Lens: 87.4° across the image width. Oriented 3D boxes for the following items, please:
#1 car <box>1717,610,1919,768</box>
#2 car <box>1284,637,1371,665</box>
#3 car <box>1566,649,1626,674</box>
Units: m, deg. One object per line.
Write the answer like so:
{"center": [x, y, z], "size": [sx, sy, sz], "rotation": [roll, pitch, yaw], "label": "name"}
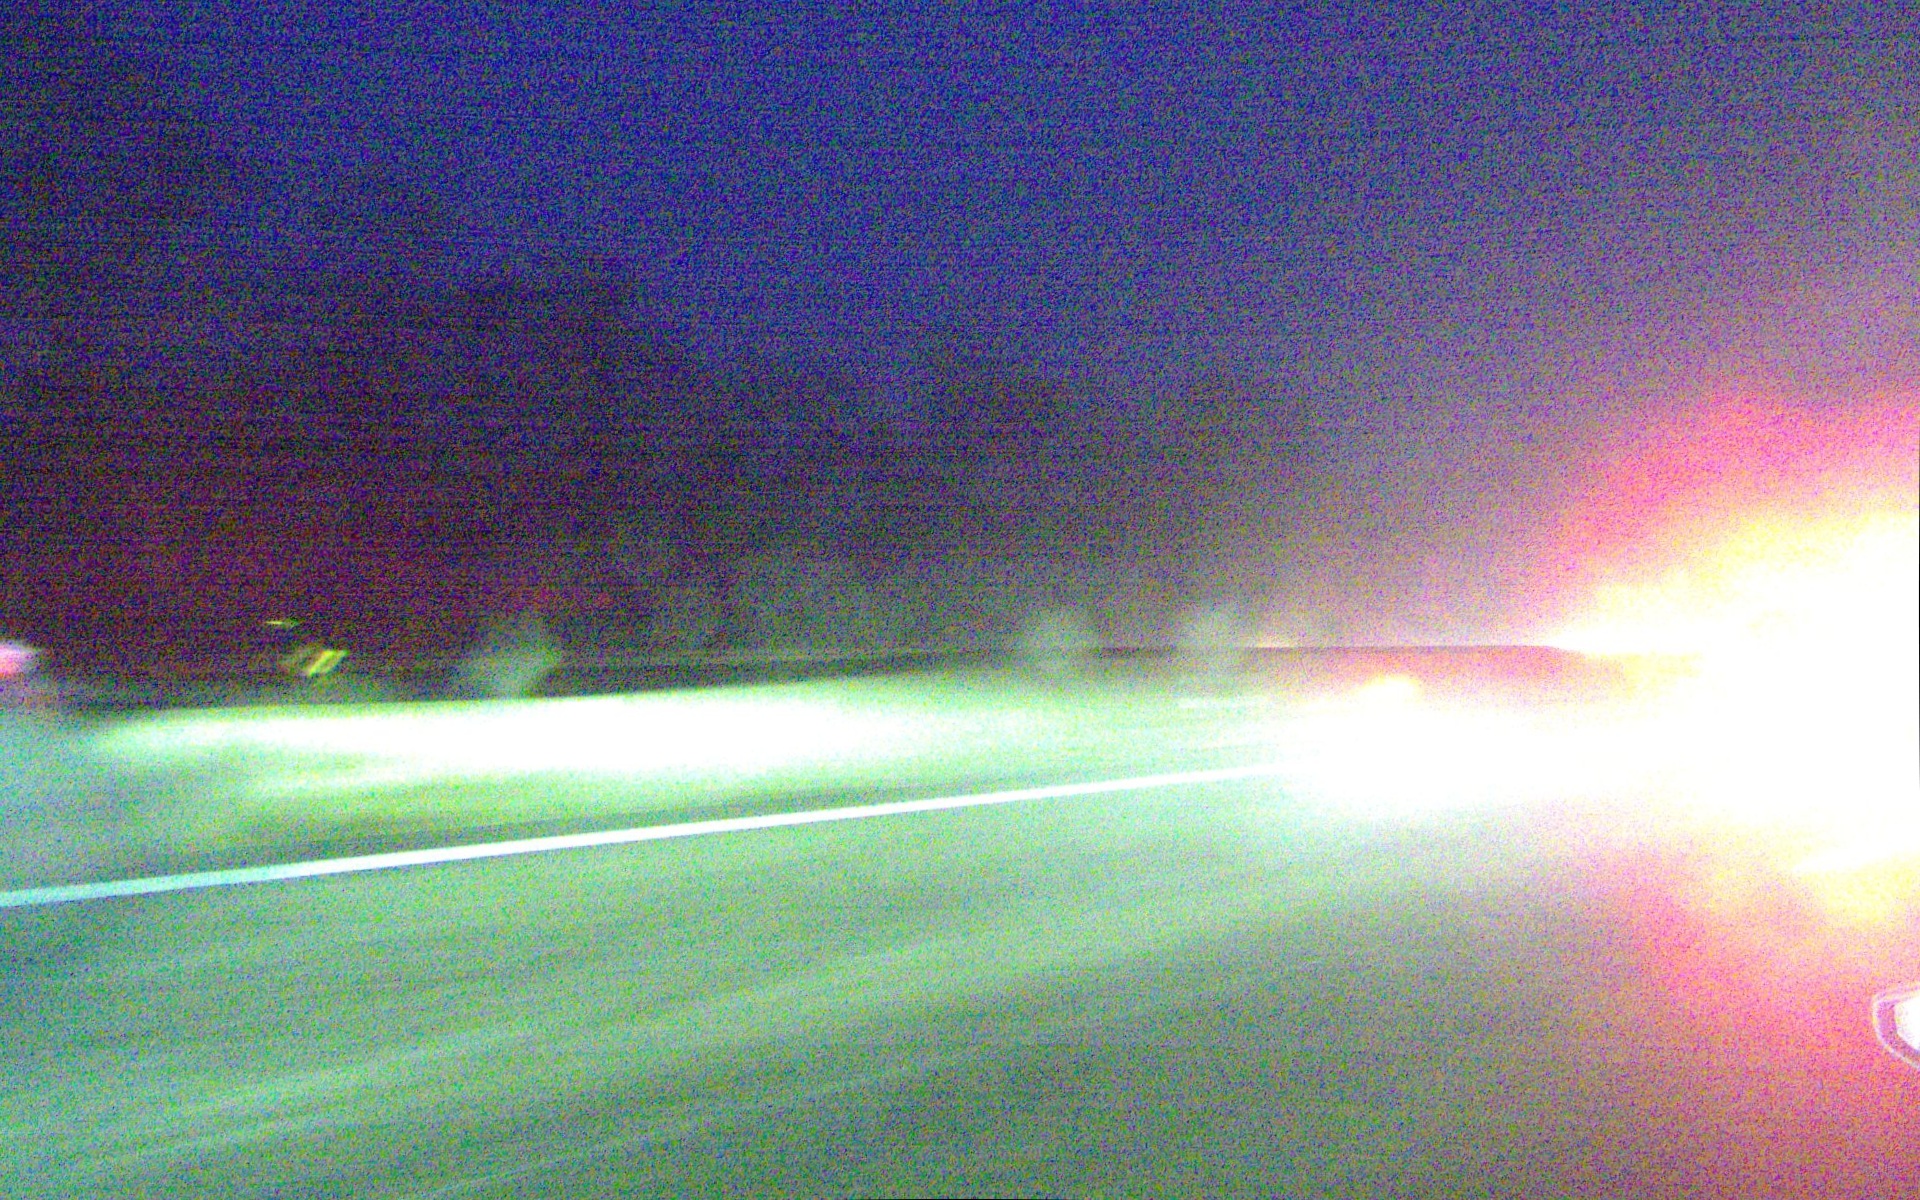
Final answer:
{"center": [11.194, 0.913, 11.995], "size": [4.696, 1.561, 1.848], "rotation": [0, 0, -31], "label": "car"}
{"center": [15.937, 2.235, 43.543], "size": [3.731, 1.173, 1.587], "rotation": [2, -4, -32], "label": "car"}
{"center": [34.697, 3.373, 54.806], "size": [3.197, 1.324, 1.524], "rotation": [2, -3, -32], "label": "car"}
